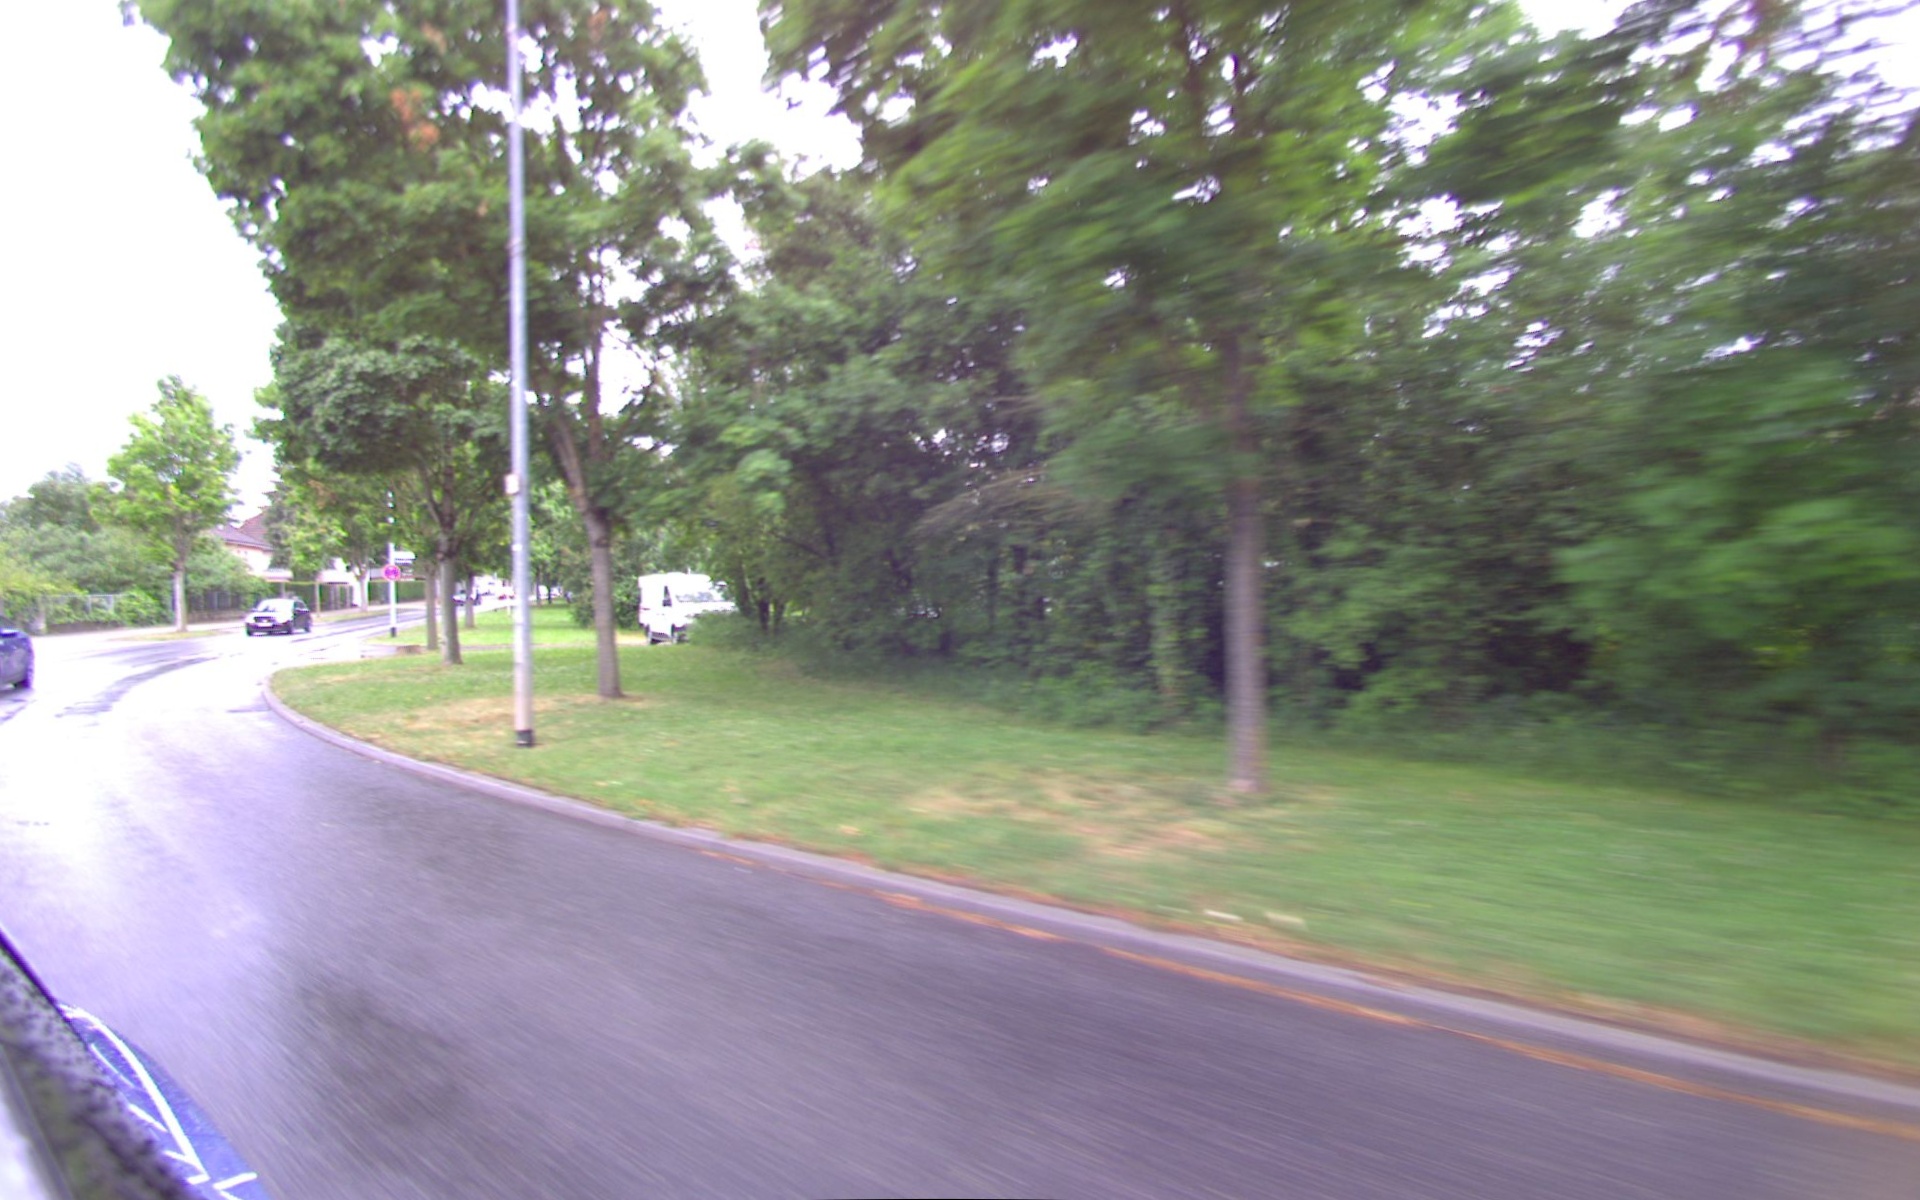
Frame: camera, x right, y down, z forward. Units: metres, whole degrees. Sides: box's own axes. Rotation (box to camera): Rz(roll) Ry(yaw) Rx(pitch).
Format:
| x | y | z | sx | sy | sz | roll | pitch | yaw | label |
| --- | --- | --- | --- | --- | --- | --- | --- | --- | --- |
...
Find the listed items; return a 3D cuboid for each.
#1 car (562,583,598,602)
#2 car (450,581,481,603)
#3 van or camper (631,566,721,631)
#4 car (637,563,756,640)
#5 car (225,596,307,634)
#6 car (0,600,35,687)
| x | y | z | sx | sy | sz | roll | pitch | yaw | label |
| --- | --- | --- | --- | --- | --- | --- | --- | --- | --- |
| -32.195 | -0.660 | 85.749 | 1.856 | 1.441 | 4.227 | -1 | -1 | -35 | car |
| -45.228 | -0.754 | 92.589 | 1.966 | 1.872 | 4.013 | -3 | 2 | -18 | car |
| -11.512 | -0.110 | 40.607 | 2.350 | 2.378 | 6.834 | 0 | 1 | -25 | van or camper |
| -7.799 | 0.147 | 29.499 | 2.097 | 2.001 | 5.491 | 1 | -3 | -29 | car |
| -30.153 | 0.619 | 44.083 | 1.897 | 1.392 | 4.322 | -3 | 2 | -20 | car |
| -17.443 | 0.733 | 17.323 | 1.786 | 1.479 | 3.985 | 0 | 0 | -34 | car |
